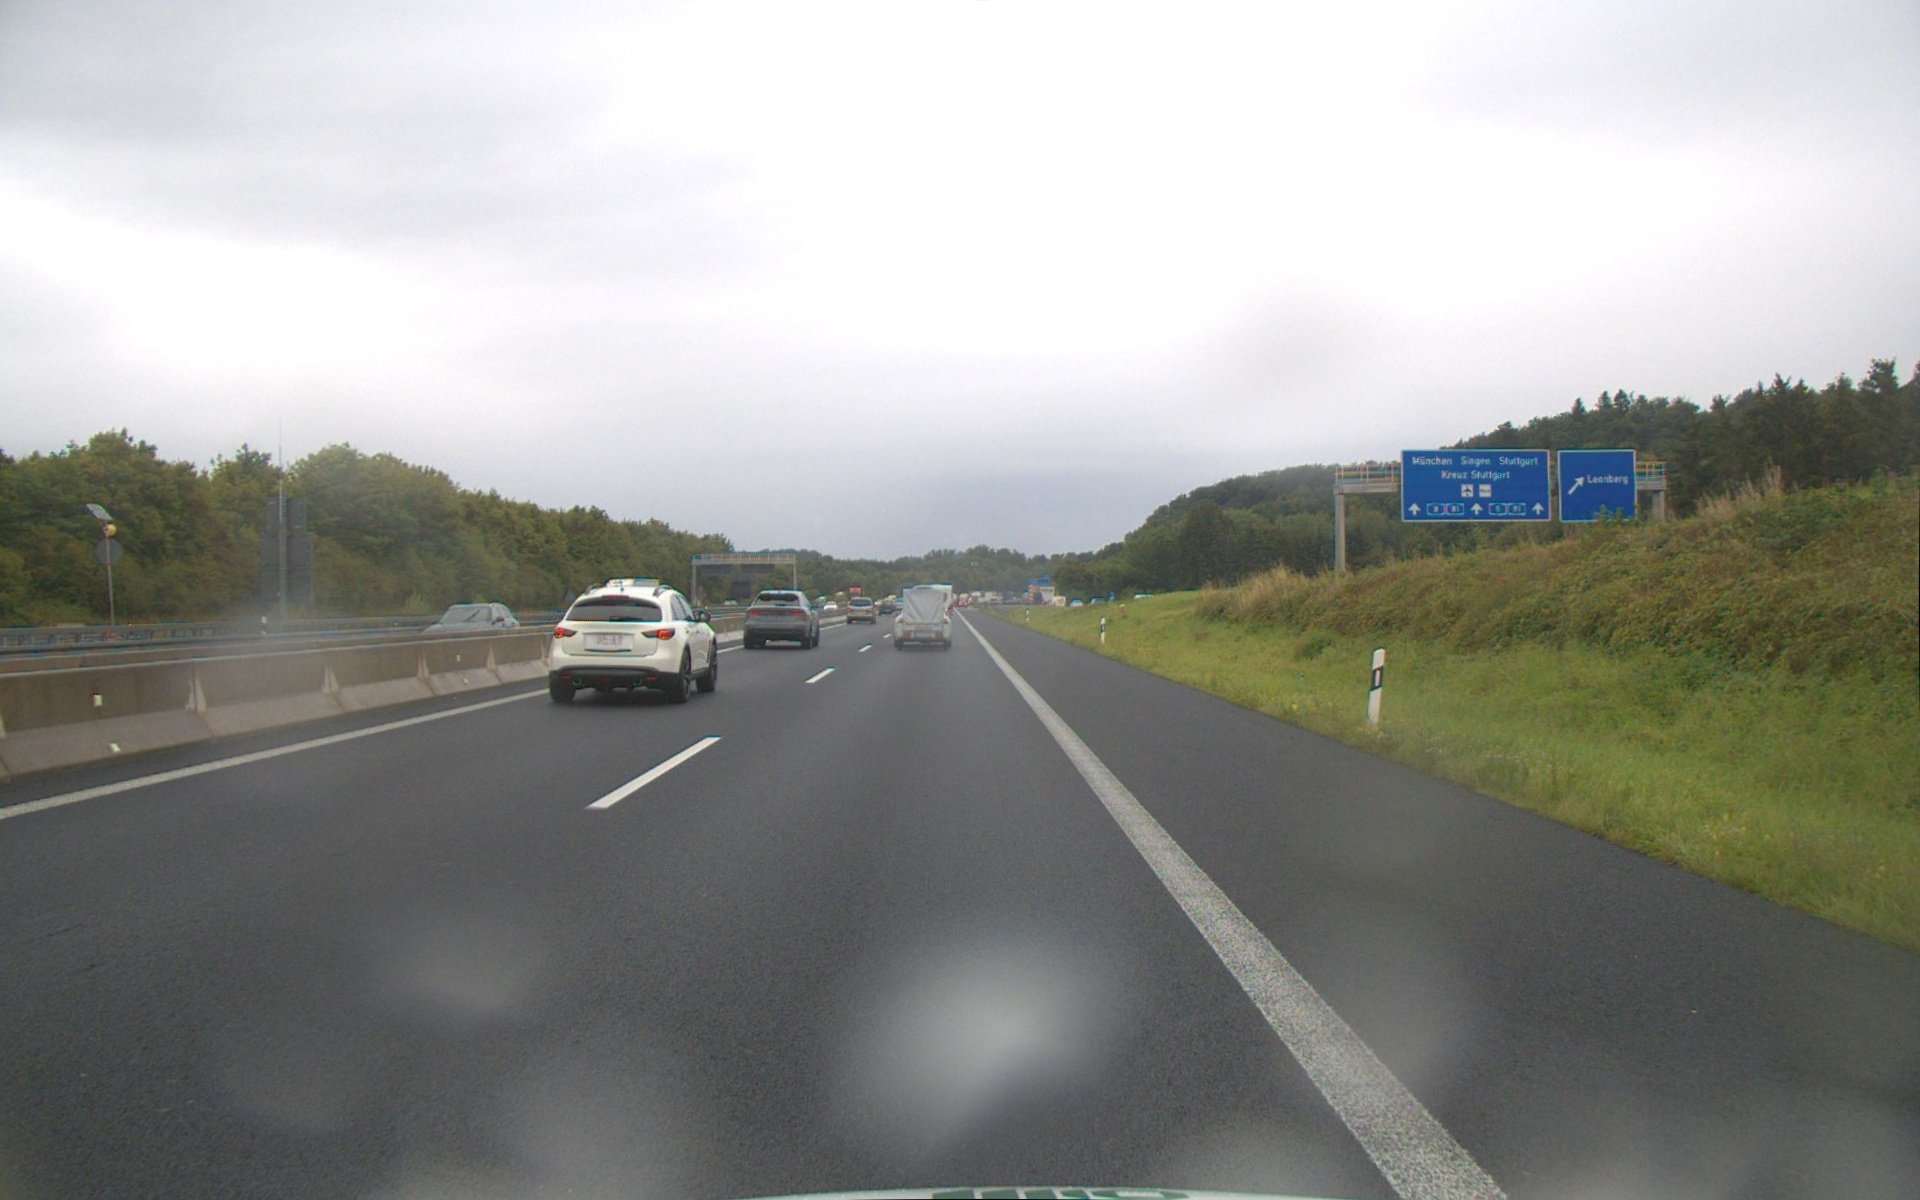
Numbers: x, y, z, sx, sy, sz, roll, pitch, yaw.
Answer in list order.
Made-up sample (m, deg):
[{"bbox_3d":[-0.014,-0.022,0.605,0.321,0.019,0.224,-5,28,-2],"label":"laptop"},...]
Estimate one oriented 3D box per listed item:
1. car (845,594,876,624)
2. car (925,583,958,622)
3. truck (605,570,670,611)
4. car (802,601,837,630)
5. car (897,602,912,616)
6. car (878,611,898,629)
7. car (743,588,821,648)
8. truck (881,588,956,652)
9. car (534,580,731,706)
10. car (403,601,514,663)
[{"bbox_3d":[-6.220,0.548,103.740,1.703,1.825,3.999,1,0,-1],"label":"car"},{"bbox_3d":[-1.395,0.200,121.089,2.284,2.773,6.537,1,0,-2],"label":"car"},{"bbox_3d":[-32.773,-0.940,168.845,3.112,3.875,17.134,1,0,0],"label":"truck"},{"bbox_3d":[-8.316,0.882,98.028,1.782,1.691,4.016,0,0,-1],"label":"car"},{"bbox_3d":[-6.438,1.081,193.290,1.612,1.601,3.999,1,0,0],"label":"car"},{"bbox_3d":[-6.628,1.832,152.718,1.612,1.601,3.999,1,0,0],"label":"car"},{"bbox_3d":[-5.380,0.530,50.530,1.935,1.733,4.801,1,0,-1],"label":"car"},{"bbox_3d":[-1.296,0.577,51.961,2.197,1.871,6.582,0,0,-1],"label":"truck"},{"bbox_3d":[-4.774,0.584,24.820,2.006,1.700,4.541,1,0,0],"label":"car"},{"bbox_3d":[-13.306,0.819,44.073,1.761,1.534,3.999,-1,0,-1],"label":"car"}]
